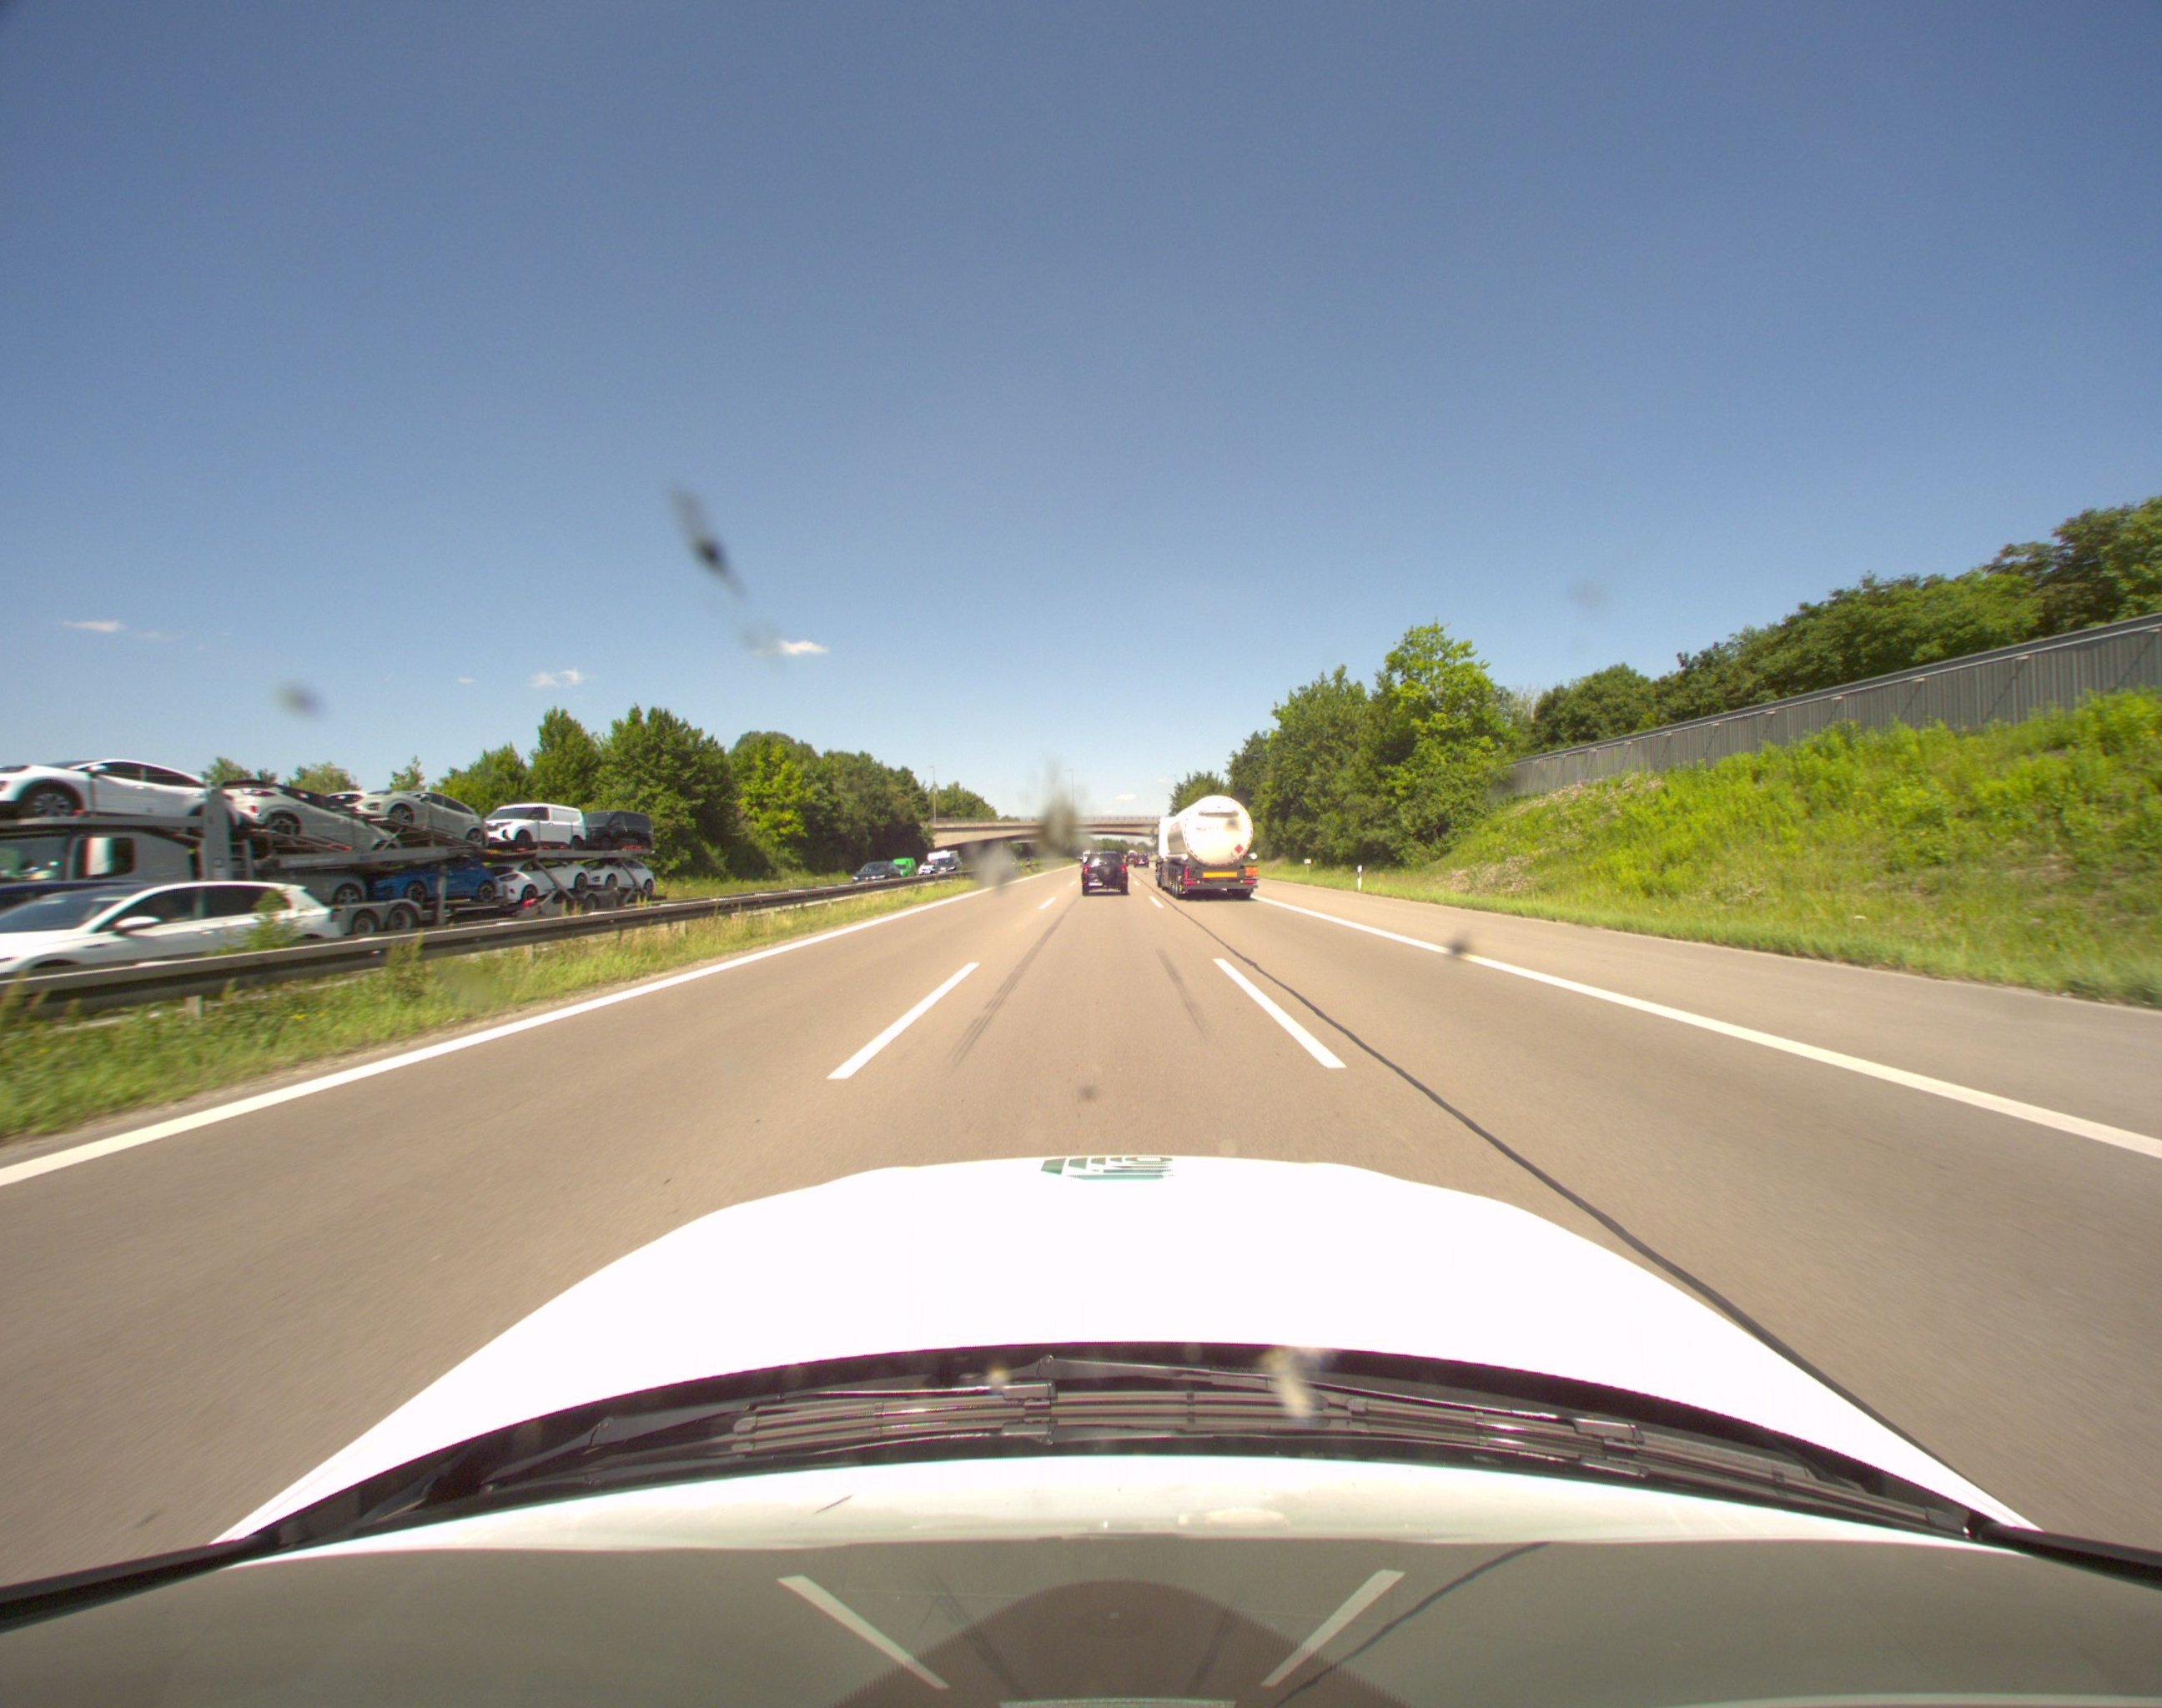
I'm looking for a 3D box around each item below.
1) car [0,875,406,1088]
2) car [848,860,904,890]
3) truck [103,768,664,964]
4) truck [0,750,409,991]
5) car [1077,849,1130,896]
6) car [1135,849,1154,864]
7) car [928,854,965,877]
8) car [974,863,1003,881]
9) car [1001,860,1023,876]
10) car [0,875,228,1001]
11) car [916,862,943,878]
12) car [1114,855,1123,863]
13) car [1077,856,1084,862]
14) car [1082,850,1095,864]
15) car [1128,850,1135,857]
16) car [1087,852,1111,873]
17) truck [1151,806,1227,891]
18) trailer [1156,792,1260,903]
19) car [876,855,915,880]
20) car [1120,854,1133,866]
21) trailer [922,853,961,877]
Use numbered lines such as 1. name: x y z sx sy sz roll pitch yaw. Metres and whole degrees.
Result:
1. car: -11.334 1.313 9.929 1.986 2.014 4.915 -2 -1 1
2. car: -10.638 1.056 42.514 1.709 1.390 4.002 -2 0 2
3. truck: -19.156 0.260 25.721 3.201 4.050 16.673 -2 0 0
4. truck: -19.179 0.330 17.469 3.230 4.050 7.394 -2 0 0
5. car: 0.874 0.695 32.009 1.900 1.665 4.001 -2 0 1
6. car: 7.532 0.297 96.820 1.986 1.684 4.001 -2 -1 1
7. car: -9.922 0.857 60.235 1.843 1.574 4.424 -2 -1 2
8. car: -9.009 1.741 79.713 1.985 1.604 5.093 -2 0 3
9. car: -7.954 1.598 94.090 1.907 1.601 4.436 -2 0 2
10. car: -15.433 1.191 11.416 1.986 1.613 4.582 -2 0 1
11. car: -16.496 1.758 89.036 1.839 1.606 4.812 -2 0 2
12. car: 8.346 1.188 181.684 1.986 1.750 4.207 -2 0 2
13. car: -0.127 1.552 244.198 1.789 1.666 4.133 -2 0 4
14. car: 1.167 0.508 131.812 1.987 2.013 4.949 -2 0 0
15. car: 13.814 -0.100 223.665 1.806 1.746 4.000 -2 0 0
16. car: 1.560 0.760 72.189 1.987 1.706 4.335 -2 0 0
17. truck: 4.594 -0.203 35.701 2.628 3.375 6.490 -1 0 2
18. trailer: 4.446 -0.176 30.748 2.637 3.390 11.158 -1 0 3
19. car: -14.287 0.981 62.981 1.807 1.809 4.382 -2 0 1
20. car: 6.523 0.886 116.607 1.835 1.611 4.003 -2 -1 3
21. trailer: -16.303 1.237 95.758 2.721 2.687 8.634 -2 0 2
